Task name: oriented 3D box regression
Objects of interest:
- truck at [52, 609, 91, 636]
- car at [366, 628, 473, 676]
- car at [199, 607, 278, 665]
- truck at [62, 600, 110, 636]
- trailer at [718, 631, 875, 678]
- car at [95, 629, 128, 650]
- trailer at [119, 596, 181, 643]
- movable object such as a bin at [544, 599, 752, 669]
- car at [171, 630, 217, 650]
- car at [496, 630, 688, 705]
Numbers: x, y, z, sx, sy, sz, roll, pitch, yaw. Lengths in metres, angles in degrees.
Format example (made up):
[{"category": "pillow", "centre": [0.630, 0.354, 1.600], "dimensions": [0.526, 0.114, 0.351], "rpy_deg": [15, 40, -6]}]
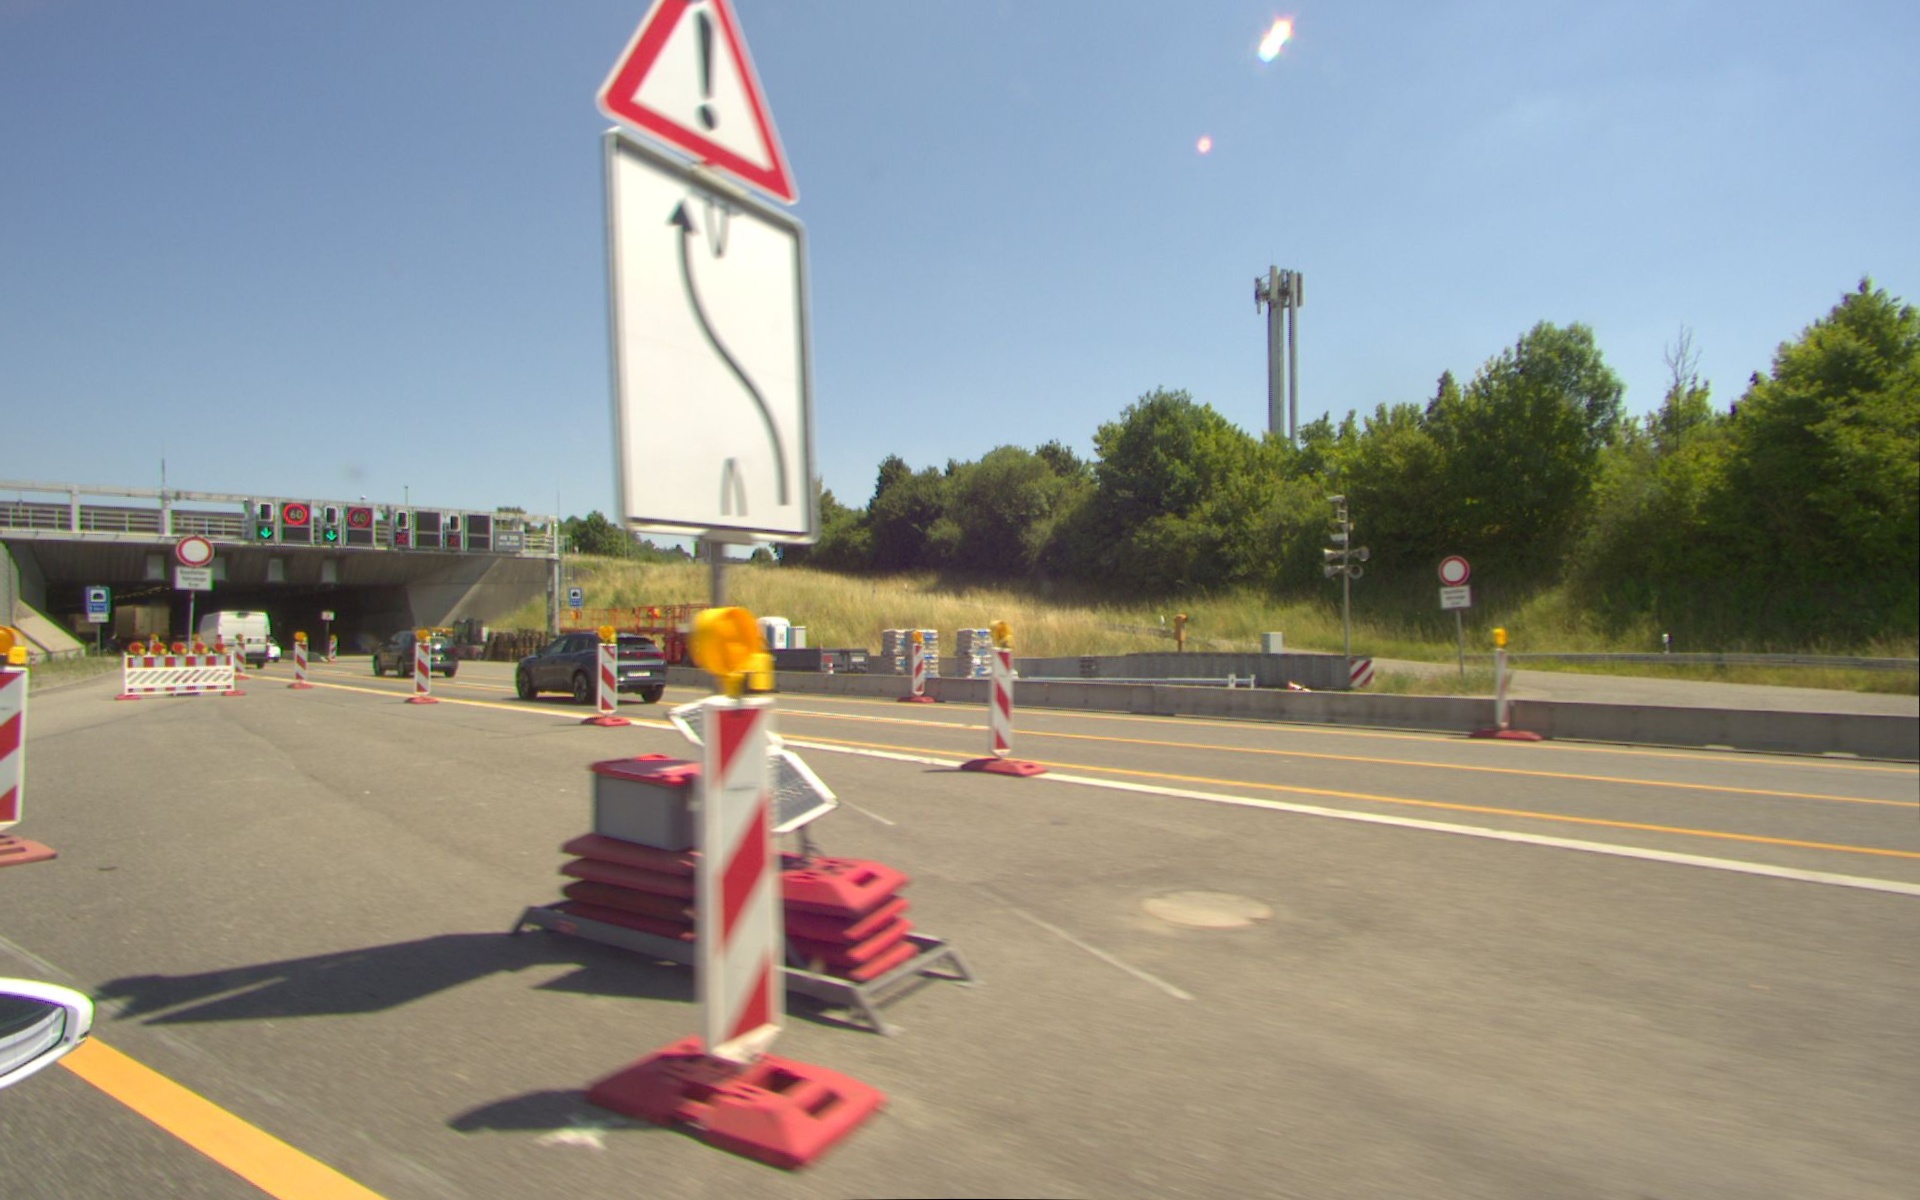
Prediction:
[{"category": "truck", "centre": [-150.367, 3.905, 169.323], "dimensions": [16.362, 4.122, 3.384], "rpy_deg": [-3, -3, 43]}, {"category": "car", "centre": [-20.204, 1.913, 37.327], "dimensions": [5.182, 1.683, 2.008], "rpy_deg": [-3, -3, 43]}, {"category": "car", "centre": [-34.528, 1.748, 47.830], "dimensions": [2.250, 2.568, 6.525], "rpy_deg": [1, -3, -43]}, {"category": "truck", "centre": [-122.079, 2.648, 139.807], "dimensions": [16.365, 4.388, 3.384], "rpy_deg": [-4, -4, 43]}, {"category": "trailer", "centre": [-6.413, 2.044, 38.785], "dimensions": [6.161, 1.589, 2.583], "rpy_deg": [-2, 0, 39]}, {"category": "car", "centre": [-71.253, 3.337, 84.068], "dimensions": [1.803, 1.663, 4.609], "rpy_deg": [2, -3, -44]}, {"category": "trailer", "centre": [-77.113, 2.015, 95.162], "dimensions": [13.948, 4.112, 2.718], "rpy_deg": [-3, -3, 43]}, {"category": "movable object such as a bin", "centre": [-16.006, 1.722, 50.129], "dimensions": [14.545, 3.050, 3.094], "rpy_deg": [-2, -1, 43]}, {"category": "car", "centre": [-57.048, 2.988, 74.507], "dimensions": [4.600, 1.483, 1.807], "rpy_deg": [-3, -3, 41]}, {"category": "car", "centre": [-8.236, 1.437, 22.237], "dimensions": [4.623, 1.505, 1.985], "rpy_deg": [-2, -3, 40]}]
